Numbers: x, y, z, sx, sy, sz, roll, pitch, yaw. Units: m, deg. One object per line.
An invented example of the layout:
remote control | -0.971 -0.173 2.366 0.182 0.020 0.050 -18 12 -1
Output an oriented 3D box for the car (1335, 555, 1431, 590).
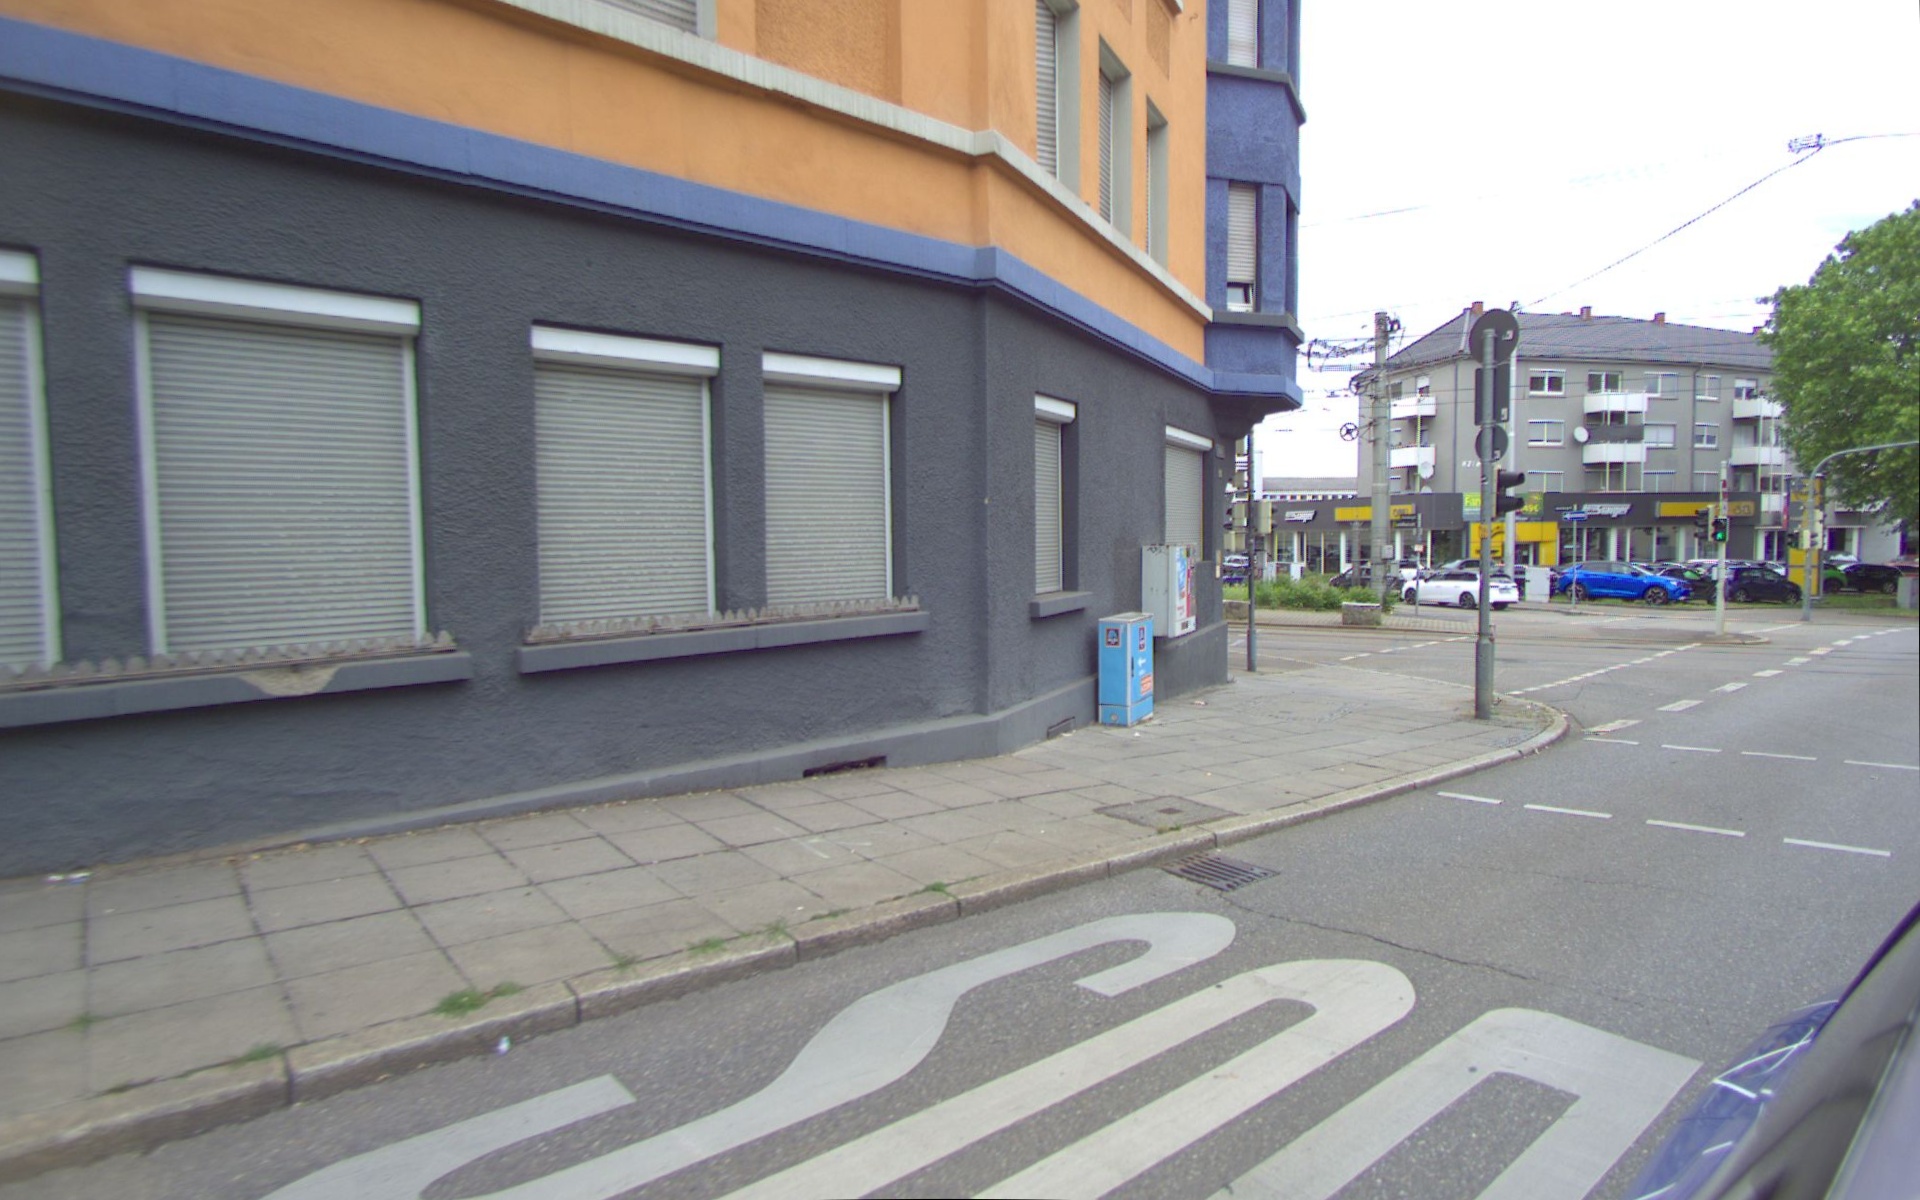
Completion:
car | 21.029 -1.374 50.374 4.032 1.553 1.799 1 3 -12

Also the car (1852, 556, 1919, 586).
car | 51.219 -1.551 54.748 3.943 1.523 1.855 2 3 15

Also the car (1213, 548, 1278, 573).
car | 19.315 -2.700 68.532 3.819 1.553 1.721 2 3 -2

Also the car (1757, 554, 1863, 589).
car | 41.725 -1.420 49.757 3.569 1.571 1.610 2 3 22

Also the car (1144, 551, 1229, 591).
car | 10.072 -1.328 45.346 1.878 1.553 4.153 1 4 -16

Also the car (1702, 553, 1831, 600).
car | 34.518 -1.021 43.360 4.084 1.625 1.835 3 8 -8

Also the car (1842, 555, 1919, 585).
car | 49.192 -1.575 53.045 3.939 1.523 1.857 2 3 13

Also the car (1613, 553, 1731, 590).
car | 32.598 -1.350 46.446 1.826 1.569 4.007 0 3 -29

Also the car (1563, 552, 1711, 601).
car | 25.621 -0.919 38.399 1.796 1.596 4.258 1 4 -39

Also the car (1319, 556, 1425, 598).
car | 17.492 -1.024 43.171 1.878 1.553 4.153 1 4 -19

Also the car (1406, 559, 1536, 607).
car | 19.176 -0.671 38.210 1.878 1.553 4.153 1 4 -20

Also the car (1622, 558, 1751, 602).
car | 29.206 -0.822 40.753 3.919 1.495 1.833 3 3 -7

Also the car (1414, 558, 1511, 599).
car | 24.017 -1.023 48.366 4.157 1.802 1.717 1 3 -21

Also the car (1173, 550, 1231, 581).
car | 14.242 -2.082 59.821 1.879 1.665 4.150 1 3 -8

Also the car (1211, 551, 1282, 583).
car | 15.313 -1.800 54.291 1.878 1.553 4.152 1 3 -12

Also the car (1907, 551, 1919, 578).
car | 57.012 -1.990 57.955 3.556 1.523 1.789 2 3 8

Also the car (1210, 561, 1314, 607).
car | 11.758 -0.671 39.730 1.878 1.553 4.153 1 4 -17

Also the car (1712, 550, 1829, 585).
car | 39.134 -1.605 48.939 1.827 1.569 4.003 -1 3 -34
